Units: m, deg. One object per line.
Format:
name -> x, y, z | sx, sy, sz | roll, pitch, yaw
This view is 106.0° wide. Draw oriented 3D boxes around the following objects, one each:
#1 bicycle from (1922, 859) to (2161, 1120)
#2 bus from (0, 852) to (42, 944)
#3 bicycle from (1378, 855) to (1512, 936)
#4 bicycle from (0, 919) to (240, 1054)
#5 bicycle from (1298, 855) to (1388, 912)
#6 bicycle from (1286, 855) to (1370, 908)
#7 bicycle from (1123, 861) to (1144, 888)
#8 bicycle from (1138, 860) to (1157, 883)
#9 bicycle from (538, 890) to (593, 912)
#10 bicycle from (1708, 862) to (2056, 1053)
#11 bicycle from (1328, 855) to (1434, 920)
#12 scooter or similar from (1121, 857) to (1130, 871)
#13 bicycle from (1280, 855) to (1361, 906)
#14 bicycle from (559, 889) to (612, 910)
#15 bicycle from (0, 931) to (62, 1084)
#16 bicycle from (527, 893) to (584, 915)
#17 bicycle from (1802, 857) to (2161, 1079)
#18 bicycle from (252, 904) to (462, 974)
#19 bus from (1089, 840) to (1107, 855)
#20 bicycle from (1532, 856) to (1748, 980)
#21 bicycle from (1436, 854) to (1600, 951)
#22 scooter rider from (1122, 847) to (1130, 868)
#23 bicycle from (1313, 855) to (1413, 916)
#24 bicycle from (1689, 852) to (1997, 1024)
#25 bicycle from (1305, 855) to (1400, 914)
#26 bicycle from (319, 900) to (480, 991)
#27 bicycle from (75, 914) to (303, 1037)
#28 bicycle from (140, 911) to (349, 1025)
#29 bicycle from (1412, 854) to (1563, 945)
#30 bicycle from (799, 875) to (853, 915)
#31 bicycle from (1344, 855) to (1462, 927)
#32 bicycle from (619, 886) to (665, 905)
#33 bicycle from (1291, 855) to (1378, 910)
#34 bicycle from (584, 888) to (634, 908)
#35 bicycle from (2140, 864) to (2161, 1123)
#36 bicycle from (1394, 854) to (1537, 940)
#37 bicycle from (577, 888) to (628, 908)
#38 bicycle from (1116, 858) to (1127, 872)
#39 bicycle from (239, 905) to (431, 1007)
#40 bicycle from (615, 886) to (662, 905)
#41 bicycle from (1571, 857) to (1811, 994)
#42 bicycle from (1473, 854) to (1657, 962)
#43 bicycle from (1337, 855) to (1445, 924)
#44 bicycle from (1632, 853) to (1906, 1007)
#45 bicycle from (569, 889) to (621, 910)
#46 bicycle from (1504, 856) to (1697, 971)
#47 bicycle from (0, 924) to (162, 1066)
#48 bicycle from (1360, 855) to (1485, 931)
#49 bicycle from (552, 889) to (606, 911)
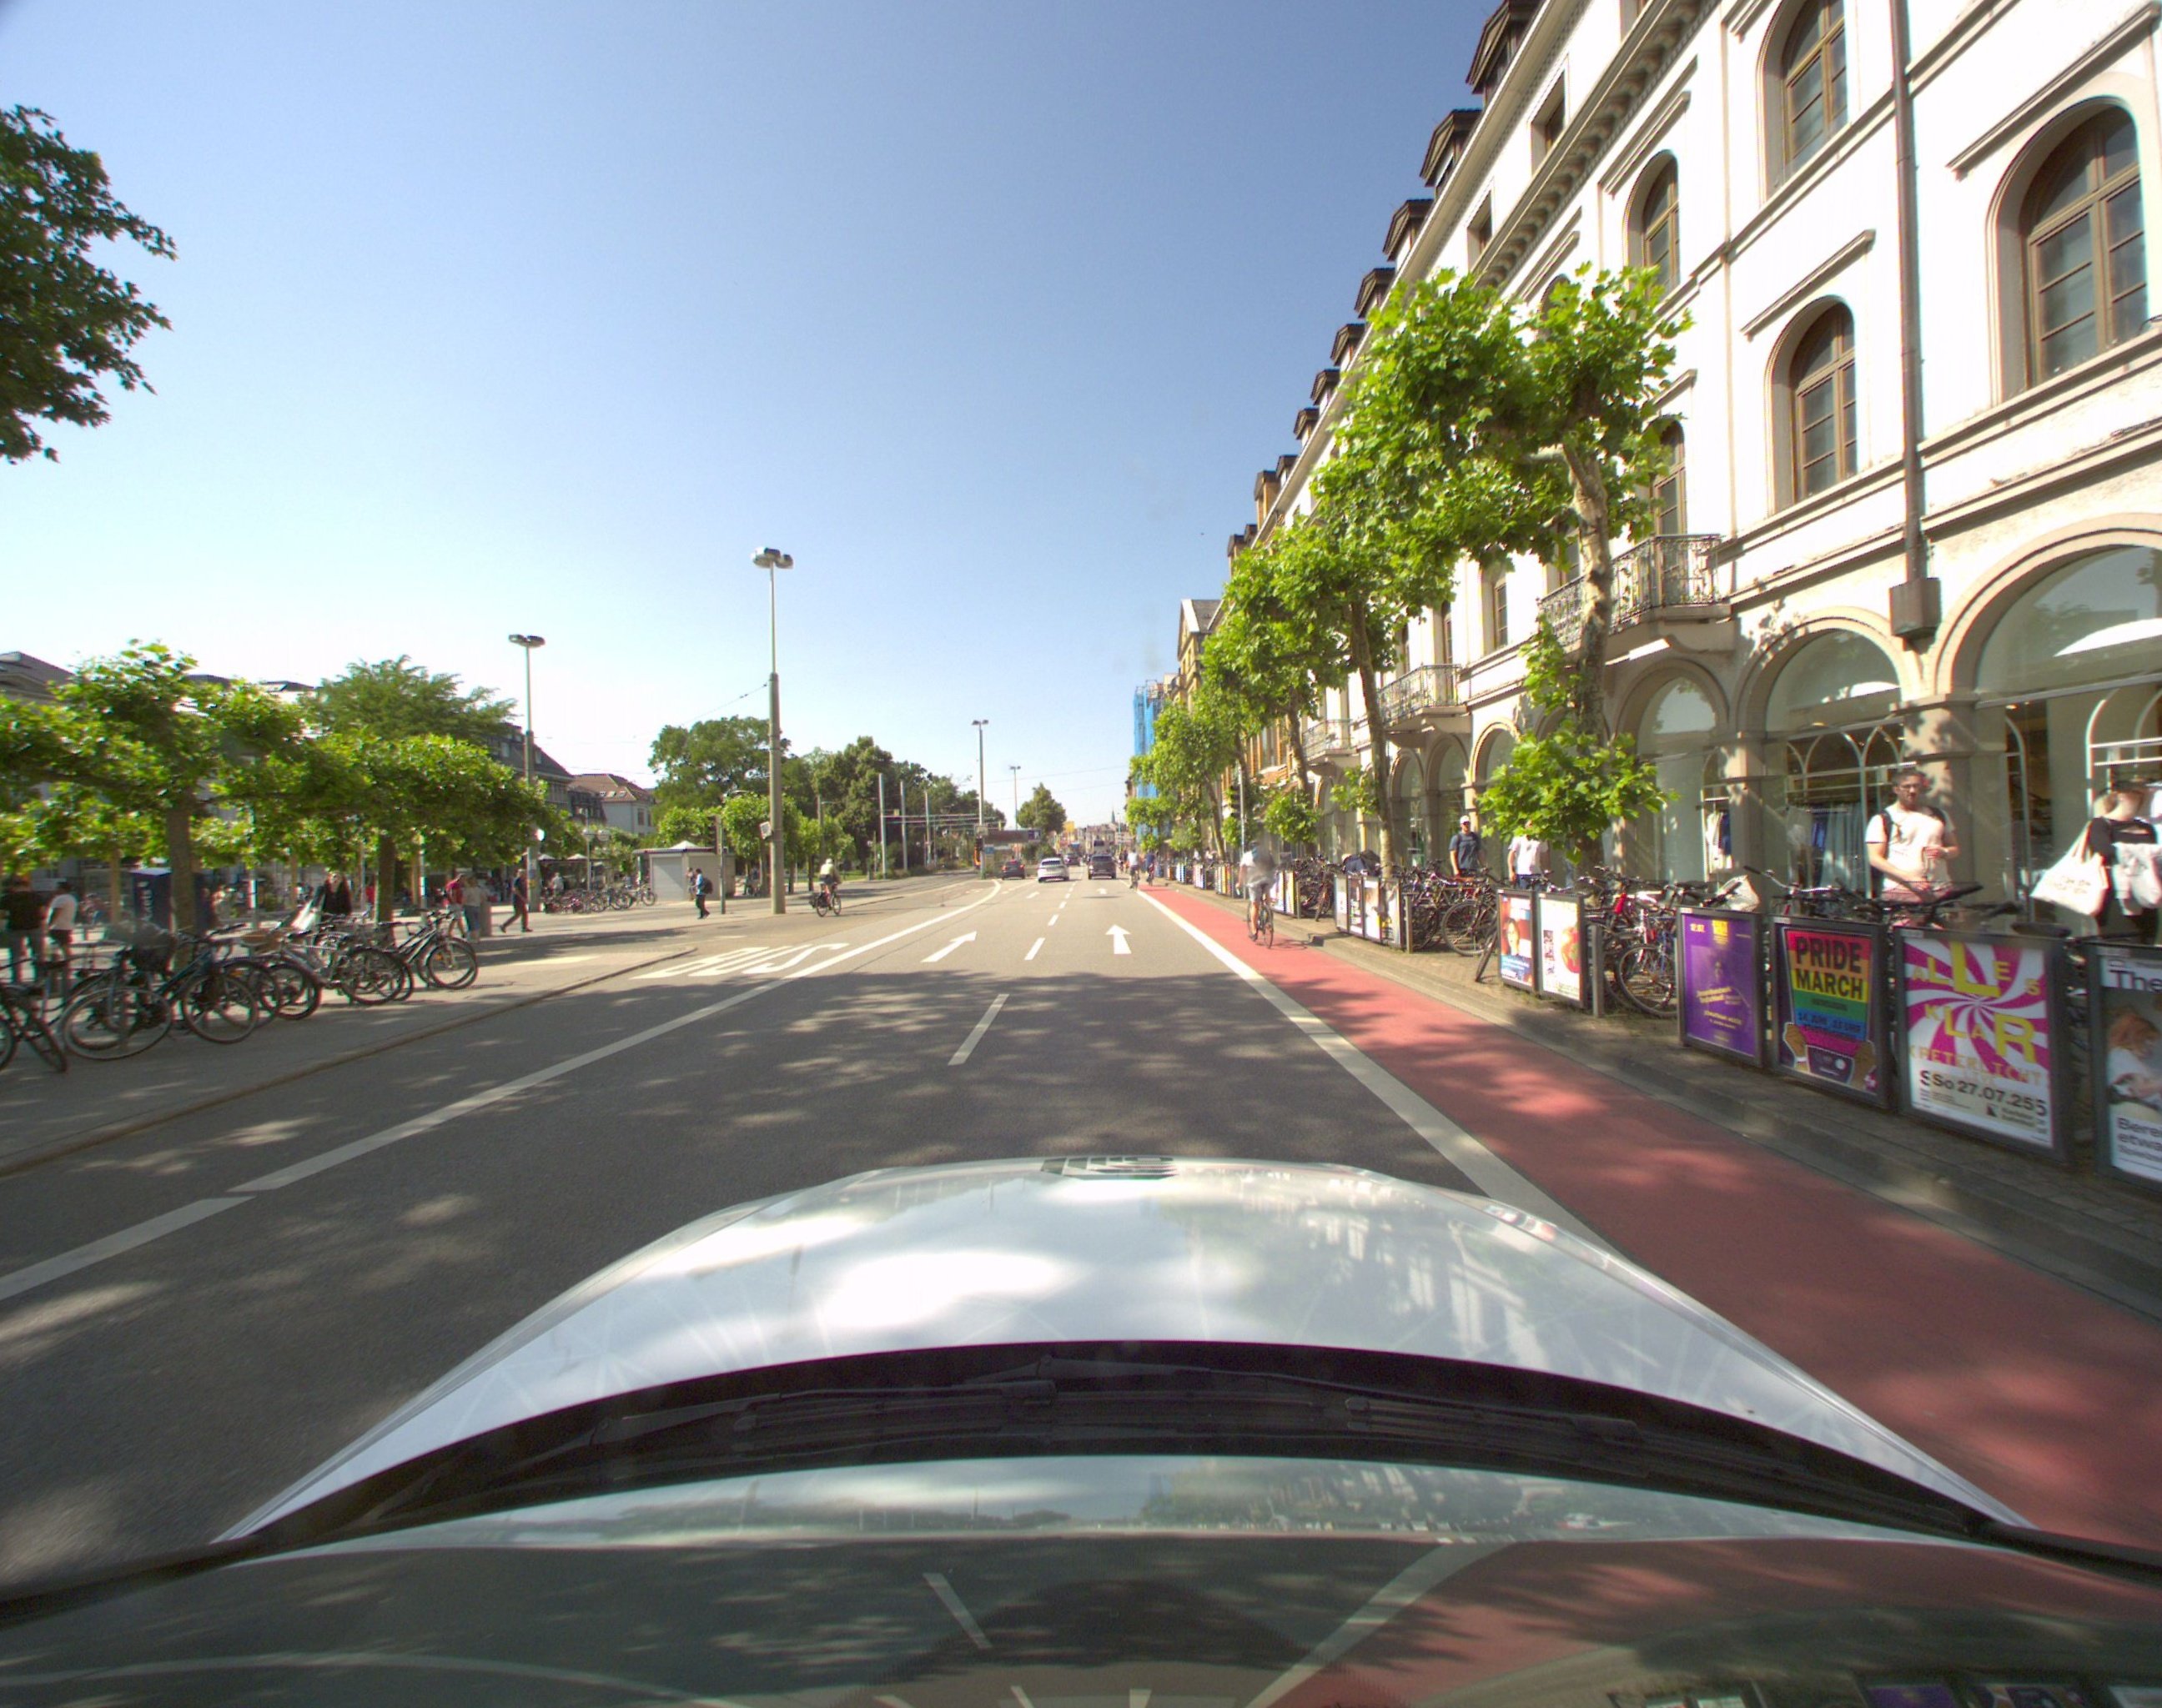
bicycle -> 5.327, 0.609, 4.026 | 1.748, 1.147, 0.592 | -1, 0, -2
bus -> -43.088, 1.613, 25.598 | 3.031, 3.420, 12.520 | 0, 0, 19
bicycle -> 5.478, 0.604, 12.314 | 1.748, 1.147, 0.592 | -1, 0, -2
bicycle -> -9.165, 1.239, 7.747 | 1.748, 1.147, 0.482 | -1, 0, -2
bicycle -> 5.578, 0.614, 17.369 | 1.748, 1.147, 0.482 | -1, 0, -2
bicycle -> 5.610, 0.619, 18.540 | 1.748, 1.147, 0.482 | -1, 0, -2
bicycle -> 2.223, 0.866, 34.744 | 0.732, 1.093, 1.897 | 0, 0, -1
bicycle -> 3.240, 0.840, 39.674 | 0.732, 1.093, 1.910 | 0, 0, -1
bicycle -> -21.514, 1.959, 34.011 | 1.866, 0.872, 0.581 | 0, 0, -13
bicycle -> 5.271, 0.650, 5.416 | 1.748, 1.147, 0.592 | -1, 0, -2
bicycle -> 5.560, 0.610, 15.141 | 1.748, 1.147, 0.592 | -1, 0, -2
scooter or similar -> 3.735, 0.828, 67.959 | 0.686, 1.167, 1.464 | 0, 0, 0
bicycle -> 5.628, 0.622, 19.177 | 1.748, 1.147, 0.482 | -1, 0, -2
bicycle -> -21.346, 1.948, 35.083 | 1.866, 0.856, 0.544 | 0, 0, -13
bicycle -> -9.286, 1.234, 6.444 | 1.748, 1.147, 0.482 | -1, 0, -2
bicycle -> -21.511, 2.034, 33.383 | 1.866, 0.856, 0.544 | 0, 0, -13
bicycle -> 5.301, 0.612, 4.712 | 1.748, 1.147, 0.592 | -1, 0, -2
bicycle -> -11.562, 1.347, 13.065 | 2.609, 1.023, 0.831 | 0, 0, 0
bus -> 3.186, -1.257, 156.222 | 2.961, 2.776, 8.635 | 0, 0, -2
bicycle -> 5.542, 0.614, 8.127 | 1.748, 1.147, 0.592 | -1, 0, -2
bicycle -> 5.501, 0.598, 10.308 | 1.748, 1.147, 0.592 | -1, 0, -2
scooter rider -> 3.753, 0.307, 67.999 | 0.686, 1.729, 0.778 | 0, 0, 0
bicycle -> 5.553, 0.613, 16.101 | 1.748, 1.147, 0.592 | -1, 0, -2
bicycle -> 5.610, 0.590, 6.050 | 1.748, 1.158, 0.592 | -1, 0, -2
bicycle -> 5.583, 0.613, 16.798 | 1.748, 1.147, 0.592 | -1, 0, -2
bicycle -> -9.368, 1.249, 11.220 | 1.748, 1.147, 0.482 | -1, 0, -2
bicycle -> -9.206, 1.240, 8.436 | 1.748, 1.147, 0.482 | -1, 0, -2
bicycle -> -9.246, 1.242, 9.039 | 1.748, 1.147, 0.482 | -1, 0, -2
bicycle -> 5.469, 0.602, 11.007 | 1.748, 1.147, 0.592 | -1, 0, -2
bicycle -> -8.067, 1.283, 25.855 | 0.813, 1.120, 1.878 | -4, 0, 8
bicycle -> 5.446, 0.609, 13.806 | 1.748, 1.147, 0.592 | -1, 0, -2
bicycle -> -21.077, 1.995, 39.113 | 1.866, 0.869, 0.579 | 0, 0, -13
bicycle -> 5.573, 0.615, 17.915 | 1.748, 1.147, 0.482 | -1, 0, -2
bicycle -> -21.429, 1.988, 37.001 | 1.866, 0.869, 0.579 | 0, 0, -13
bicycle -> 5.619, 0.601, 3.438 | 1.651, 1.147, 0.522 | -1, 0, -2
bicycle -> 5.473, 0.602, 11.639 | 1.748, 1.147, 0.592 | -1, 0, -2
bicycle -> -21.335, 1.941, 36.340 | 1.866, 0.856, 0.544 | 0, 0, -13
bicycle -> 3.223, 0.880, 65.024 | 0.732, 1.093, 1.897 | 0, 0, 0
bicycle -> -9.221, 1.246, 10.100 | 1.855, 1.147, 0.482 | -1, 0, -2
bicycle -> -20.935, 1.955, 38.562 | 1.866, 0.869, 0.579 | 0, 0, -13
bicycle -> 5.510, 0.622, 7.404 | 1.748, 1.147, 0.592 | -1, 0, -2
bicycle -> 5.516, 0.596, 9.337 | 1.748, 1.147, 0.598 | -1, 0, -2
bicycle -> 5.480, 0.619, 14.422 | 1.698, 1.147, 0.519 | -1, 0, -2
bicycle -> 5.576, 0.588, 6.651 | 1.748, 1.147, 0.592 | -1, 0, -2
bicycle -> -21.315, 1.989, 35.746 | 1.866, 0.856, 0.544 | 0, 0, -13
bicycle -> 5.549, 0.623, 8.743 | 1.748, 1.147, 0.518 | -1, 0, -2
bicycle -> -9.287, 1.237, 7.177 | 1.748, 1.147, 0.482 | -1, 0, -2
bicycle -> 5.450, 0.606, 13.042 | 1.748, 1.147, 0.592 | -1, 0, -2
bicycle -> -21.295, 1.946, 34.575 | 1.866, 0.856, 0.544 | 0, 0, -13
